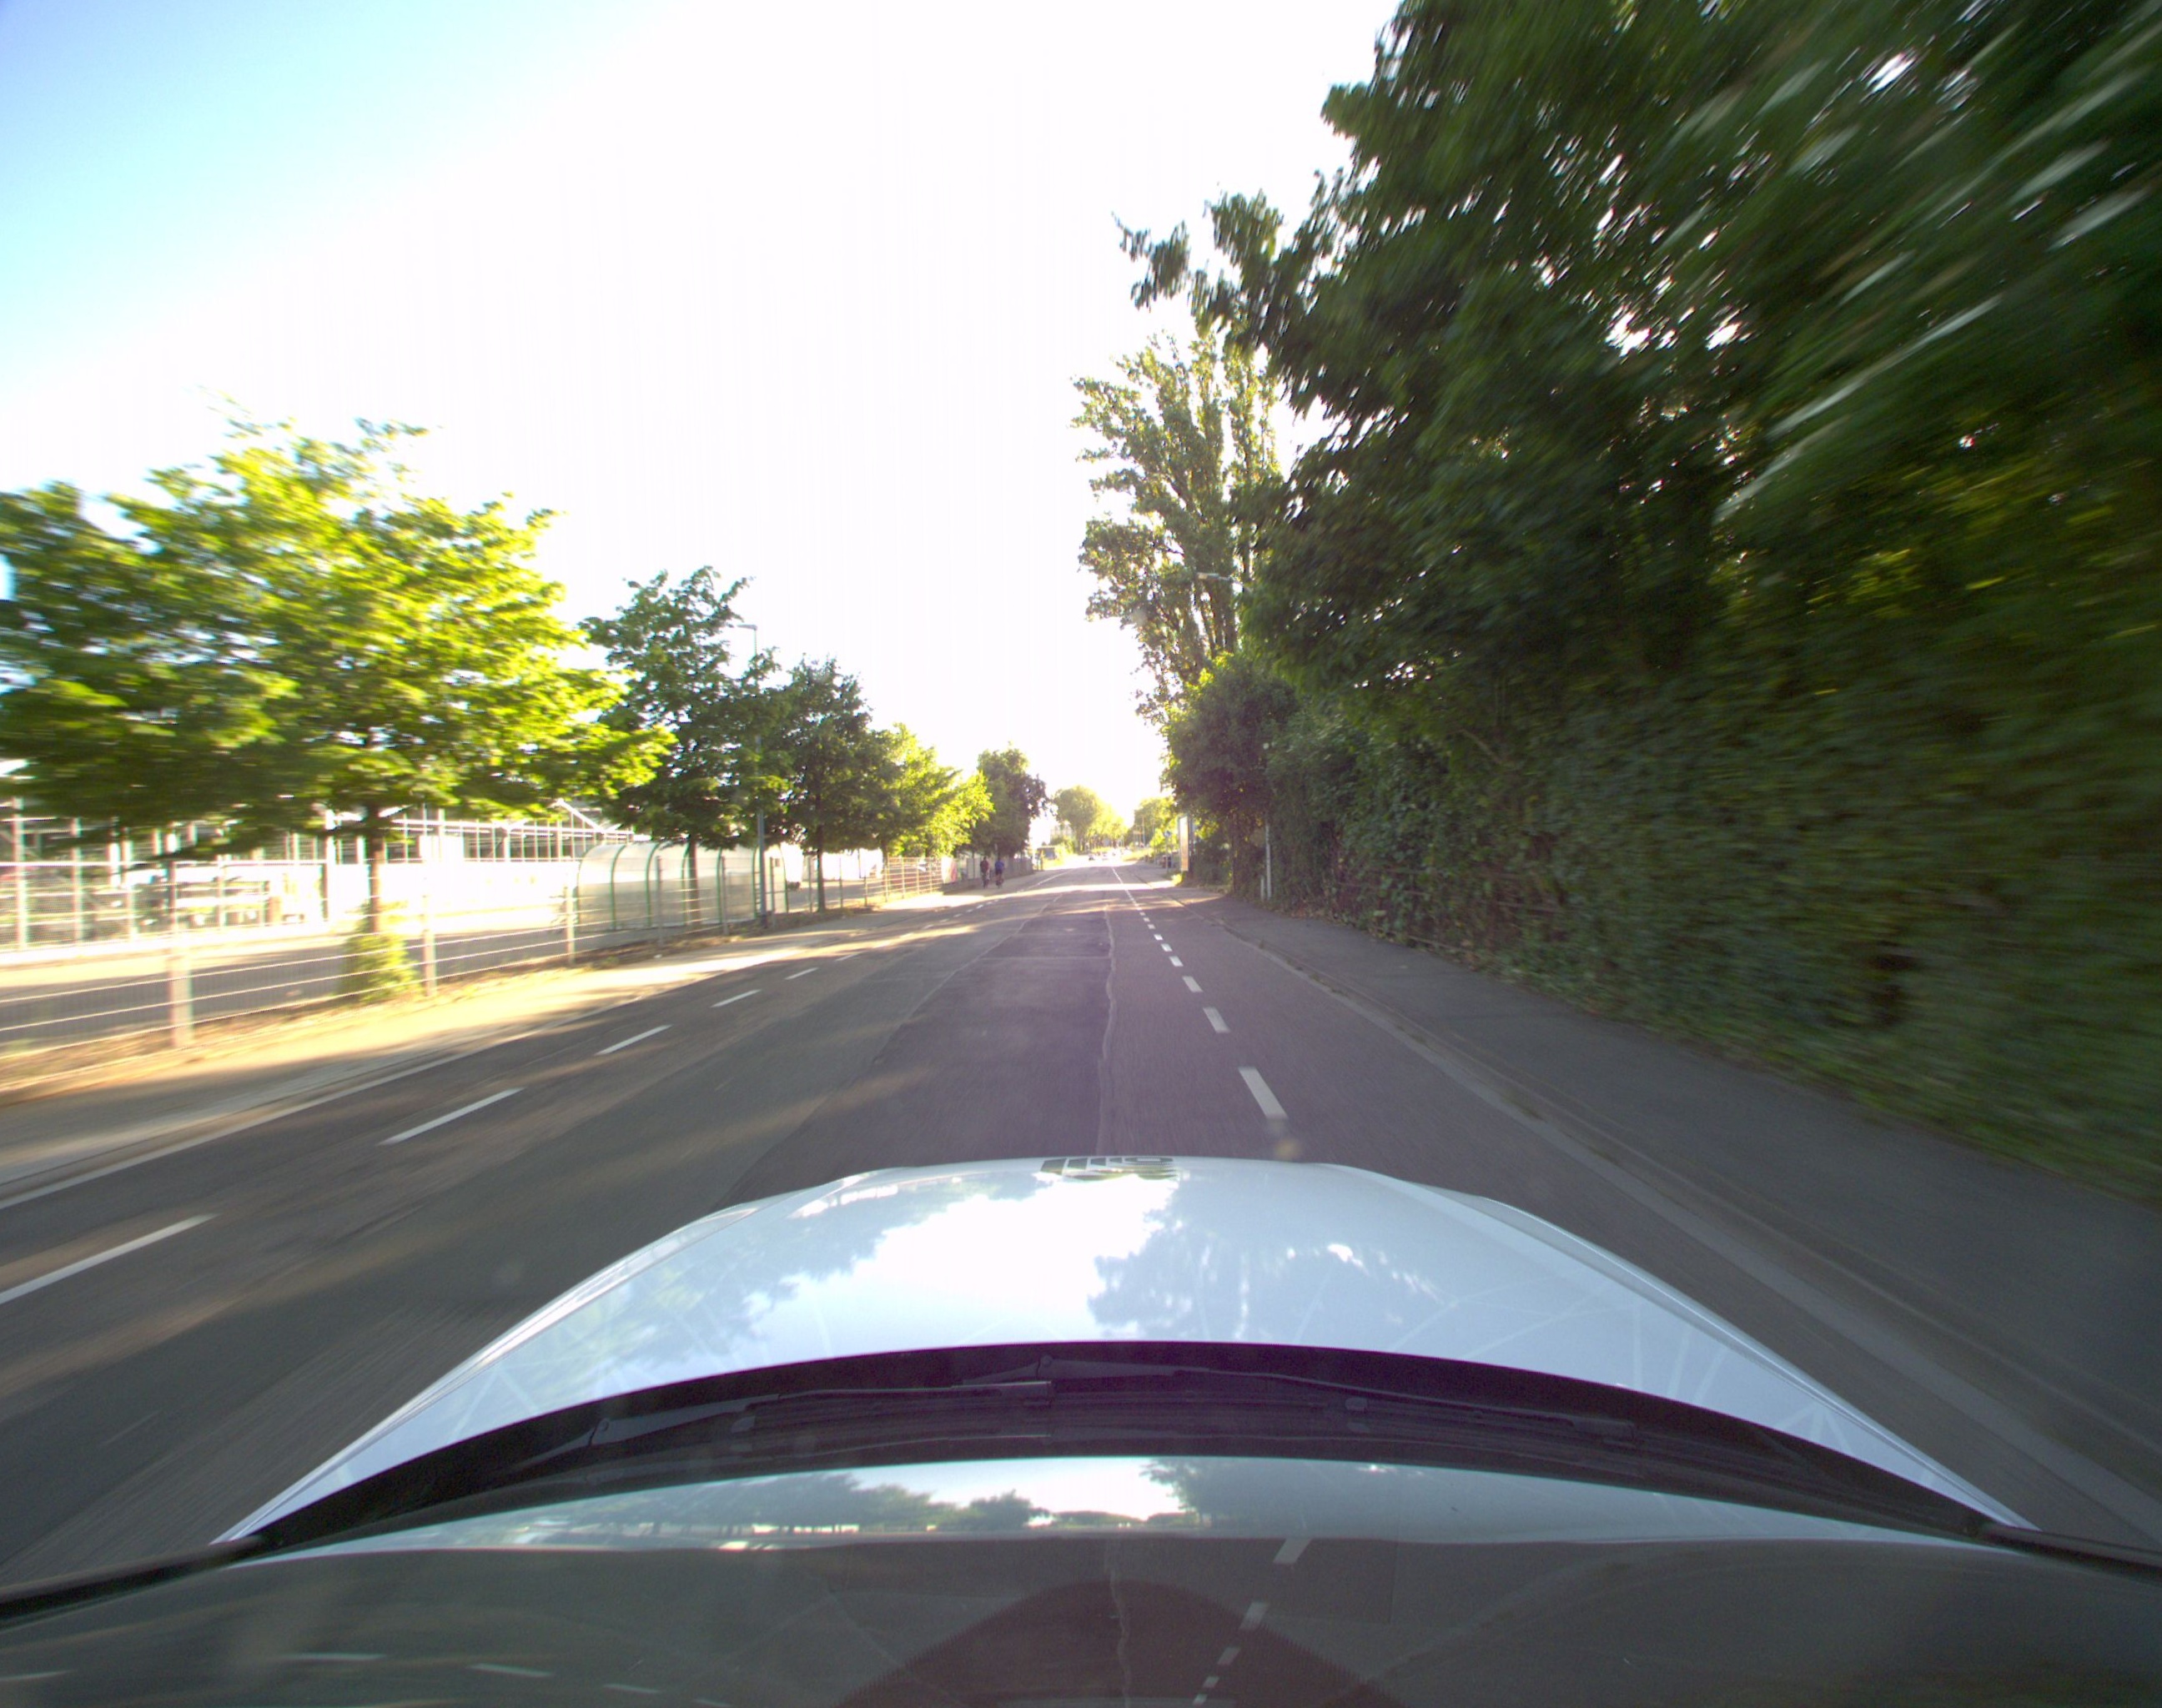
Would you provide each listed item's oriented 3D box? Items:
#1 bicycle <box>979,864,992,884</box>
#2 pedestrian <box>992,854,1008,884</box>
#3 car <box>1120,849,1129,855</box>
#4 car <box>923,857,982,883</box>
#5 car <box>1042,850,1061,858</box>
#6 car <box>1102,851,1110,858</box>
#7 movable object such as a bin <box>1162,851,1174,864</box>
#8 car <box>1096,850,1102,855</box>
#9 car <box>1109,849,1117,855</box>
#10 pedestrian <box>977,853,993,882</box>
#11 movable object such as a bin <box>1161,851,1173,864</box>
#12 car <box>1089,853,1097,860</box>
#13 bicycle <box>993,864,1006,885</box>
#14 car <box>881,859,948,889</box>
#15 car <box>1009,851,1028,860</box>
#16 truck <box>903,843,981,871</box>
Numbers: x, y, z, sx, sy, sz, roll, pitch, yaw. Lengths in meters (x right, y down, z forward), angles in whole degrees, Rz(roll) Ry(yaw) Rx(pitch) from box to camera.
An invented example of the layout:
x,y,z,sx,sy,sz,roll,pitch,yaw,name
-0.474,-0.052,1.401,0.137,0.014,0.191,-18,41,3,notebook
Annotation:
x,y,z,sx,sy,sz,roll,pitch,yaw,name
-5.609,1.157,48.065,0.468,1.148,1.870,-1,0,2,bicycle
-4.796,0.850,48.097,0.718,1.720,1.058,-2,0,2,pedestrian
12.548,-0.682,234.819,2.156,1.684,4.000,-2,0,0,car
-9.315,1.134,59.250,3.879,1.511,1.785,-5,0,-2,car
-7.808,-0.030,212.959,4.829,1.835,2.000,-2,0,0,car
5.738,0.139,185.790,1.782,1.420,4.004,-1,1,3,car
9.566,0.402,89.198,1.124,1.371,1.345,-2,0,1,movable object such as a bin
5.300,-0.513,243.200,1.647,1.503,4.002,-3,0,2,car
9.159,-0.590,230.031,2.155,1.684,4.003,-2,0,3,car
-5.660,0.787,48.133,0.718,1.720,1.058,-2,0,2,pedestrian
9.613,0.410,90.896,1.124,1.336,1.345,-2,0,1,movable object such as a bin
2.843,0.530,189.881,1.734,1.526,4.113,-6,0,2,car
-4.811,1.186,48.028,0.444,1.148,2.202,-1,0,2,bicycle
-10.332,1.227,50.804,3.715,1.451,1.805,-5,0,-1,car
-17.547,0.460,229.085,5.079,2.459,2.320,-2,0,0,car
-18.827,0.413,110.691,10.064,3.614,2.776,-1,-1,0,truck
